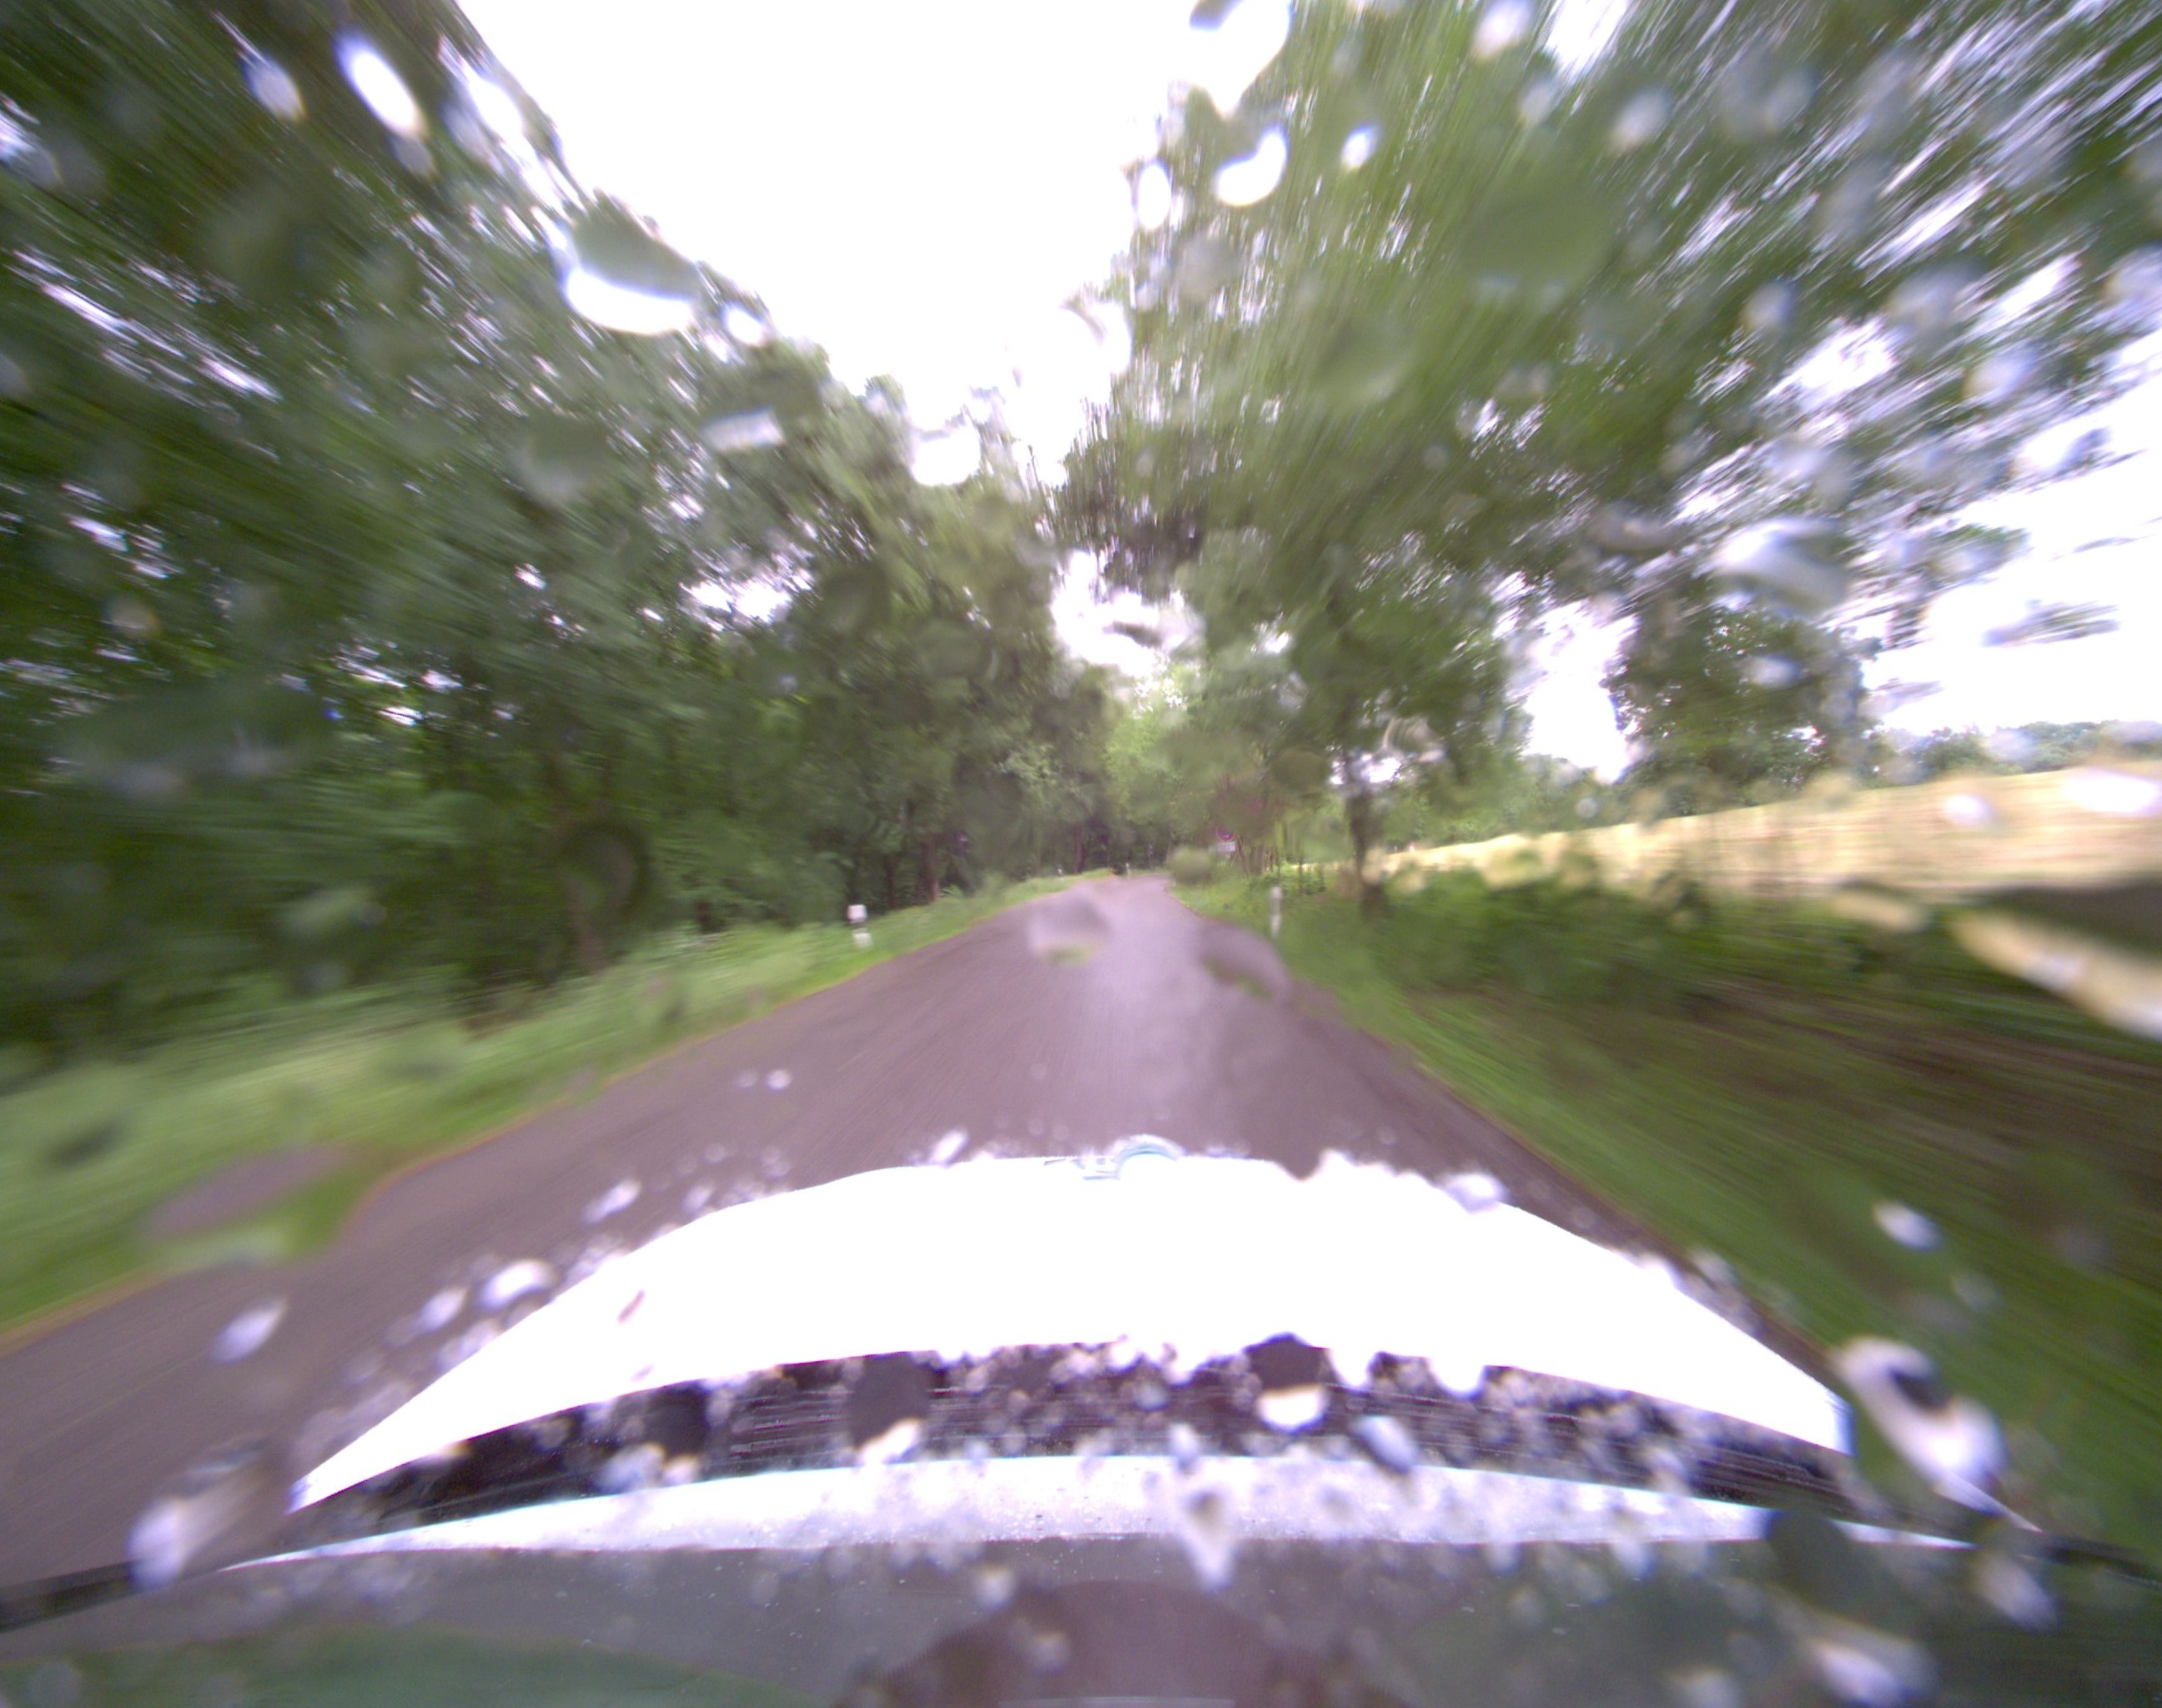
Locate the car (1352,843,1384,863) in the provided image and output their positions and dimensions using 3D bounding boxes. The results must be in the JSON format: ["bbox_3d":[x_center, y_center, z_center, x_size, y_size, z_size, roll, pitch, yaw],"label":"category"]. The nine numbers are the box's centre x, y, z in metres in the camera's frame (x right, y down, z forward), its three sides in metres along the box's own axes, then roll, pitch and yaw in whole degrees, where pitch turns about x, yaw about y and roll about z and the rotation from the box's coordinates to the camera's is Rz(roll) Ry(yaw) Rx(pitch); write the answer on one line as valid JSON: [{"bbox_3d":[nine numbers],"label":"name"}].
[{"bbox_3d":[45.097,-0.197,127.869,2.251,2.697,6.085,-4,-1,45],"label":"car"}]
